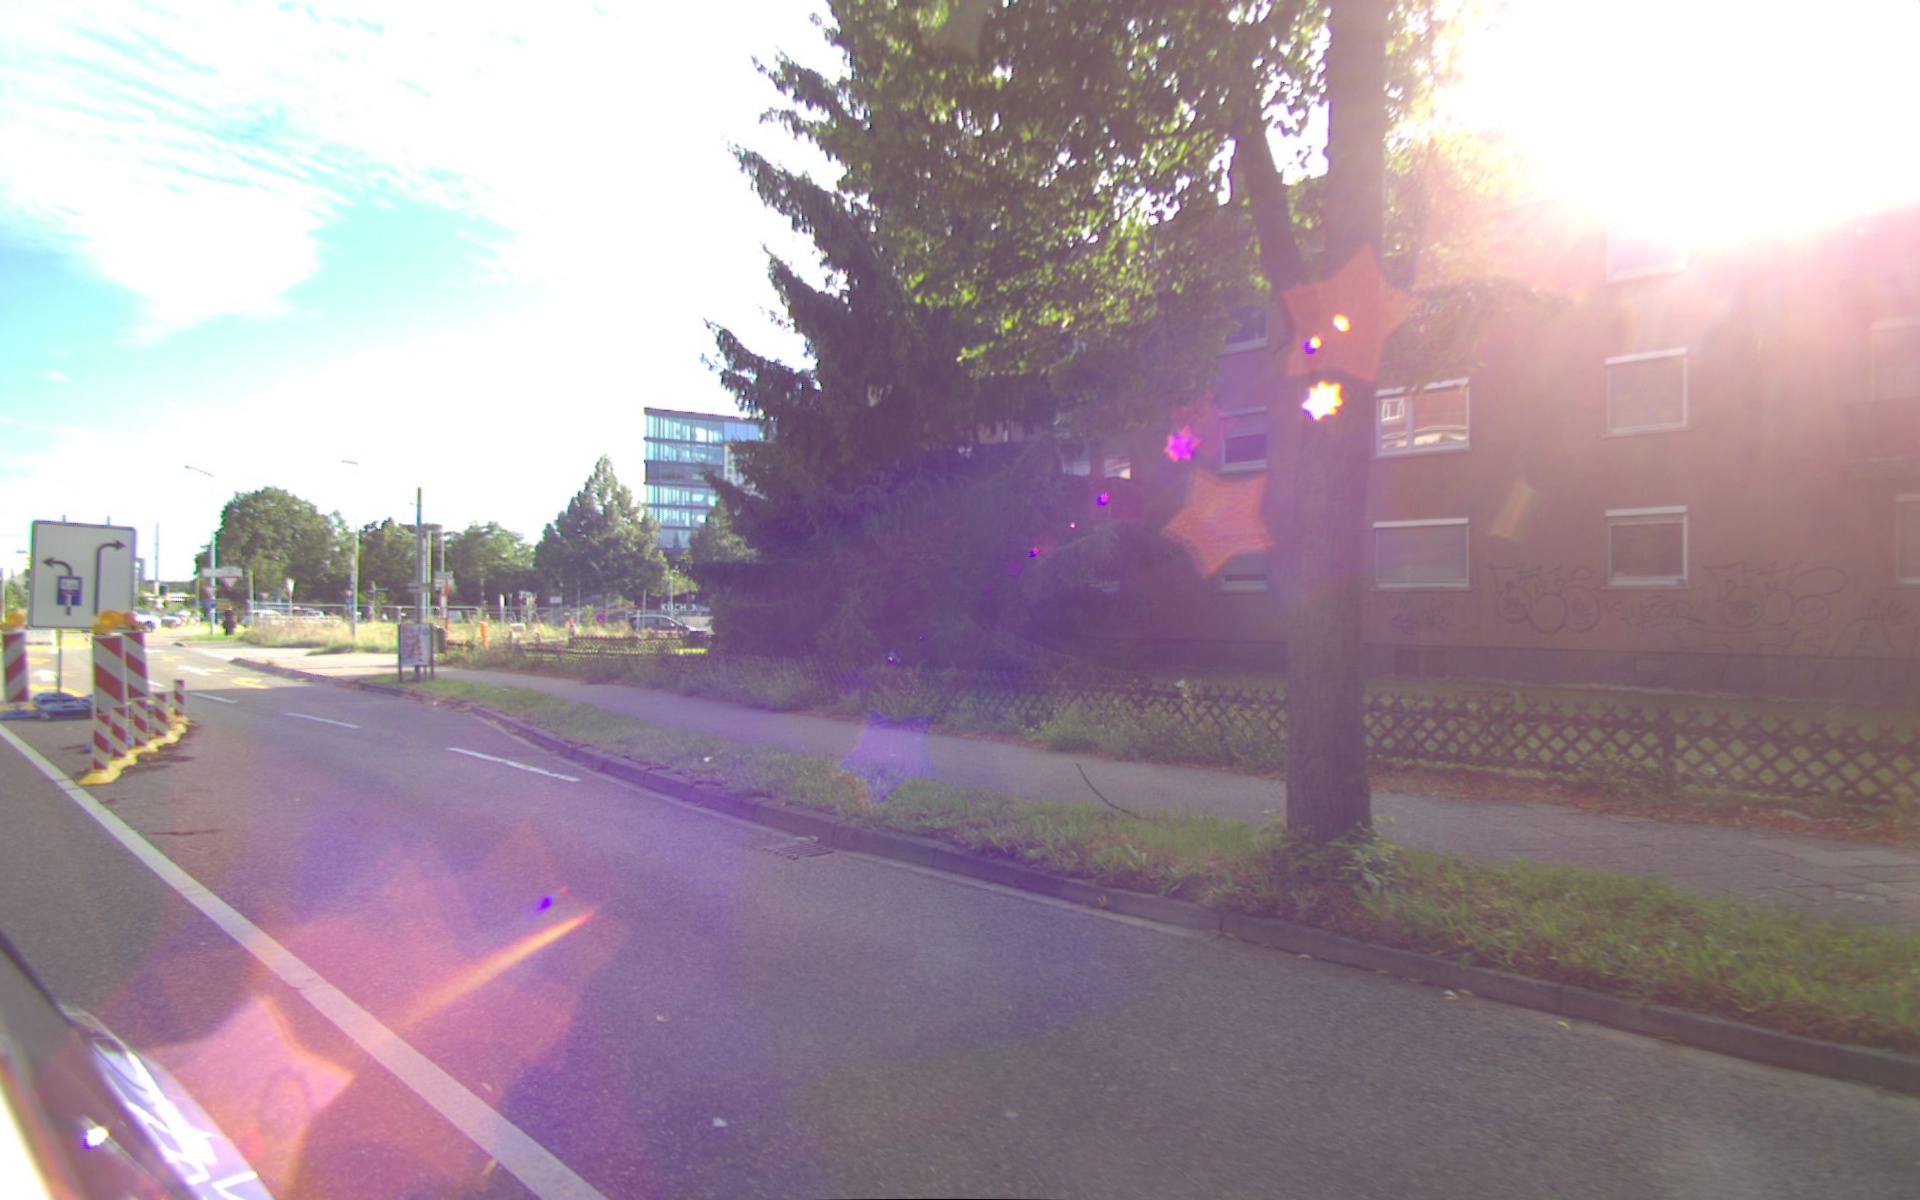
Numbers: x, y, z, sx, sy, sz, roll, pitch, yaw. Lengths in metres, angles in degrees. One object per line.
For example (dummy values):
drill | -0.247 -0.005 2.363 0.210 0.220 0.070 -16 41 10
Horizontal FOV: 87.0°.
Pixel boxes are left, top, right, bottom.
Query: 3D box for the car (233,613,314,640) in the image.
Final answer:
car | -56.512 2.125 83.465 2.450 2.074 5.487 0 0 9

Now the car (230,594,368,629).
car | -37.009 0.638 56.814 6.162 1.881 2.478 0 0 -1

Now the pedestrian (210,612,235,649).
pedestrian | -36.975 1.527 50.746 0.740 1.838 0.704 -1 0 22

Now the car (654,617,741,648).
car | -14.776 1.818 57.087 4.359 1.670 1.997 0 0 6
